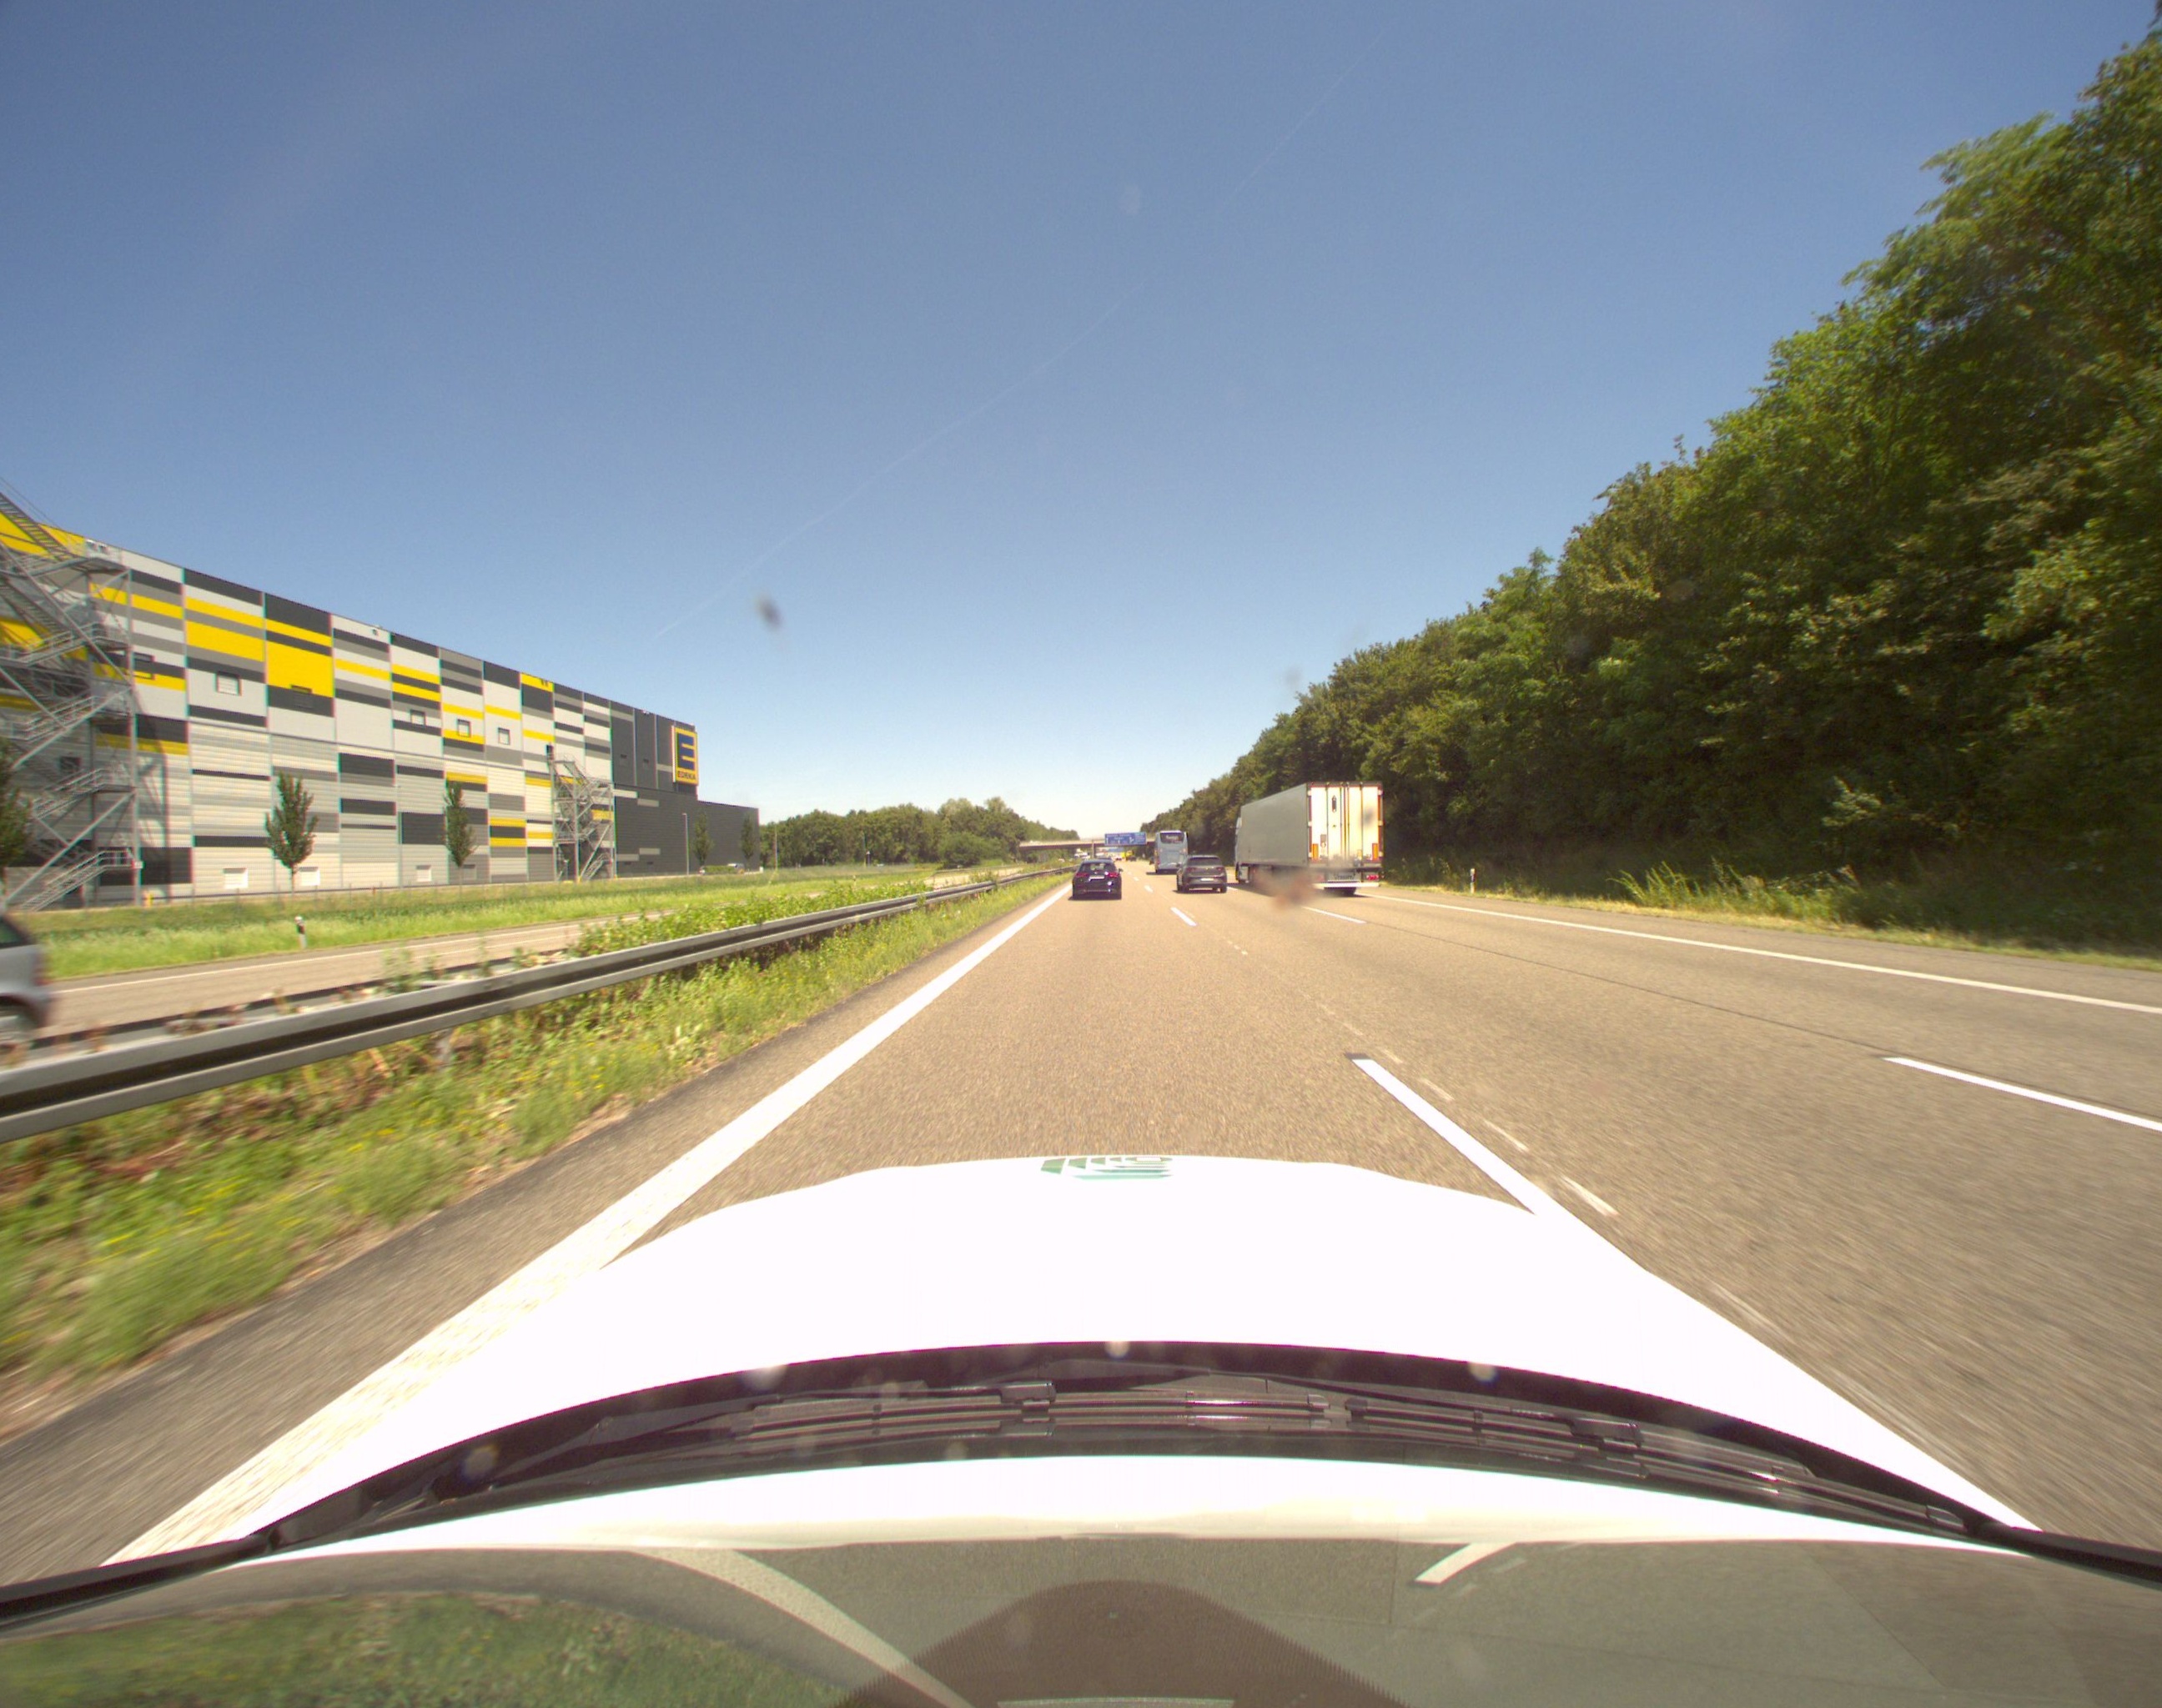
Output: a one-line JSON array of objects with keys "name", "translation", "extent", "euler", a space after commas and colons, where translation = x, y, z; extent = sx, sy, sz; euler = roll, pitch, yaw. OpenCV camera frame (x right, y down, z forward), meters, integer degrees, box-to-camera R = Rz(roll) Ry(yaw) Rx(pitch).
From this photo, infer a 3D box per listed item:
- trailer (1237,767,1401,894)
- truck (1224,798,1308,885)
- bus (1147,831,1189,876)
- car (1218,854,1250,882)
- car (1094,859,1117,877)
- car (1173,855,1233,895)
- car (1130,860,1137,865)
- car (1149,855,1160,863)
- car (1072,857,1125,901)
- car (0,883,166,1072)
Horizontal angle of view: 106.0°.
[{"name": "trailer", "translation": [9.350, -0.762, 34.345], "extent": [3.029, 4.224, 13.837], "euler": [-1, 0, 1]}, {"name": "truck", "translation": [9.506, -0.593, 42.475], "extent": [3.037, 4.215, 6.049], "euler": [-1, 0, 1]}, {"name": "bus", "translation": [7.501, 0.013, 71.630], "extent": [2.791, 3.596, 12.480], "euler": [-1, -1, 2]}, {"name": "car", "translation": [12.519, 1.122, 66.831], "extent": [1.892, 2.120, 4.242], "euler": [-1, 0, 1]}, {"name": "car", "translation": [2.106, 1.196, 71.357], "extent": [1.892, 1.532, 4.242], "euler": [-1, 0, 1]}, {"name": "car", "translation": [5.042, 0.826, 34.339], "extent": [1.892, 1.532, 4.760], "euler": [-1, 0, 1]}, {"name": "car", "translation": [16.848, 2.707, 260.283], "extent": [2.072, 1.532, 4.244], "euler": [-1, 0, 3]}, {"name": "car", "translation": [13.336, 0.902, 148.340], "extent": [1.782, 1.461, 3.952], "euler": [-1, 0, 3]}, {"name": "car", "translation": [0.649, 0.878, 30.402], "extent": [1.793, 1.502, 4.242], "euler": [-1, 0, 1]}, {"name": "car", "translation": [-10.182, 1.128, 6.080], "extent": [1.650, 1.582, 4.336], "euler": [-3, 0, 2]}]
